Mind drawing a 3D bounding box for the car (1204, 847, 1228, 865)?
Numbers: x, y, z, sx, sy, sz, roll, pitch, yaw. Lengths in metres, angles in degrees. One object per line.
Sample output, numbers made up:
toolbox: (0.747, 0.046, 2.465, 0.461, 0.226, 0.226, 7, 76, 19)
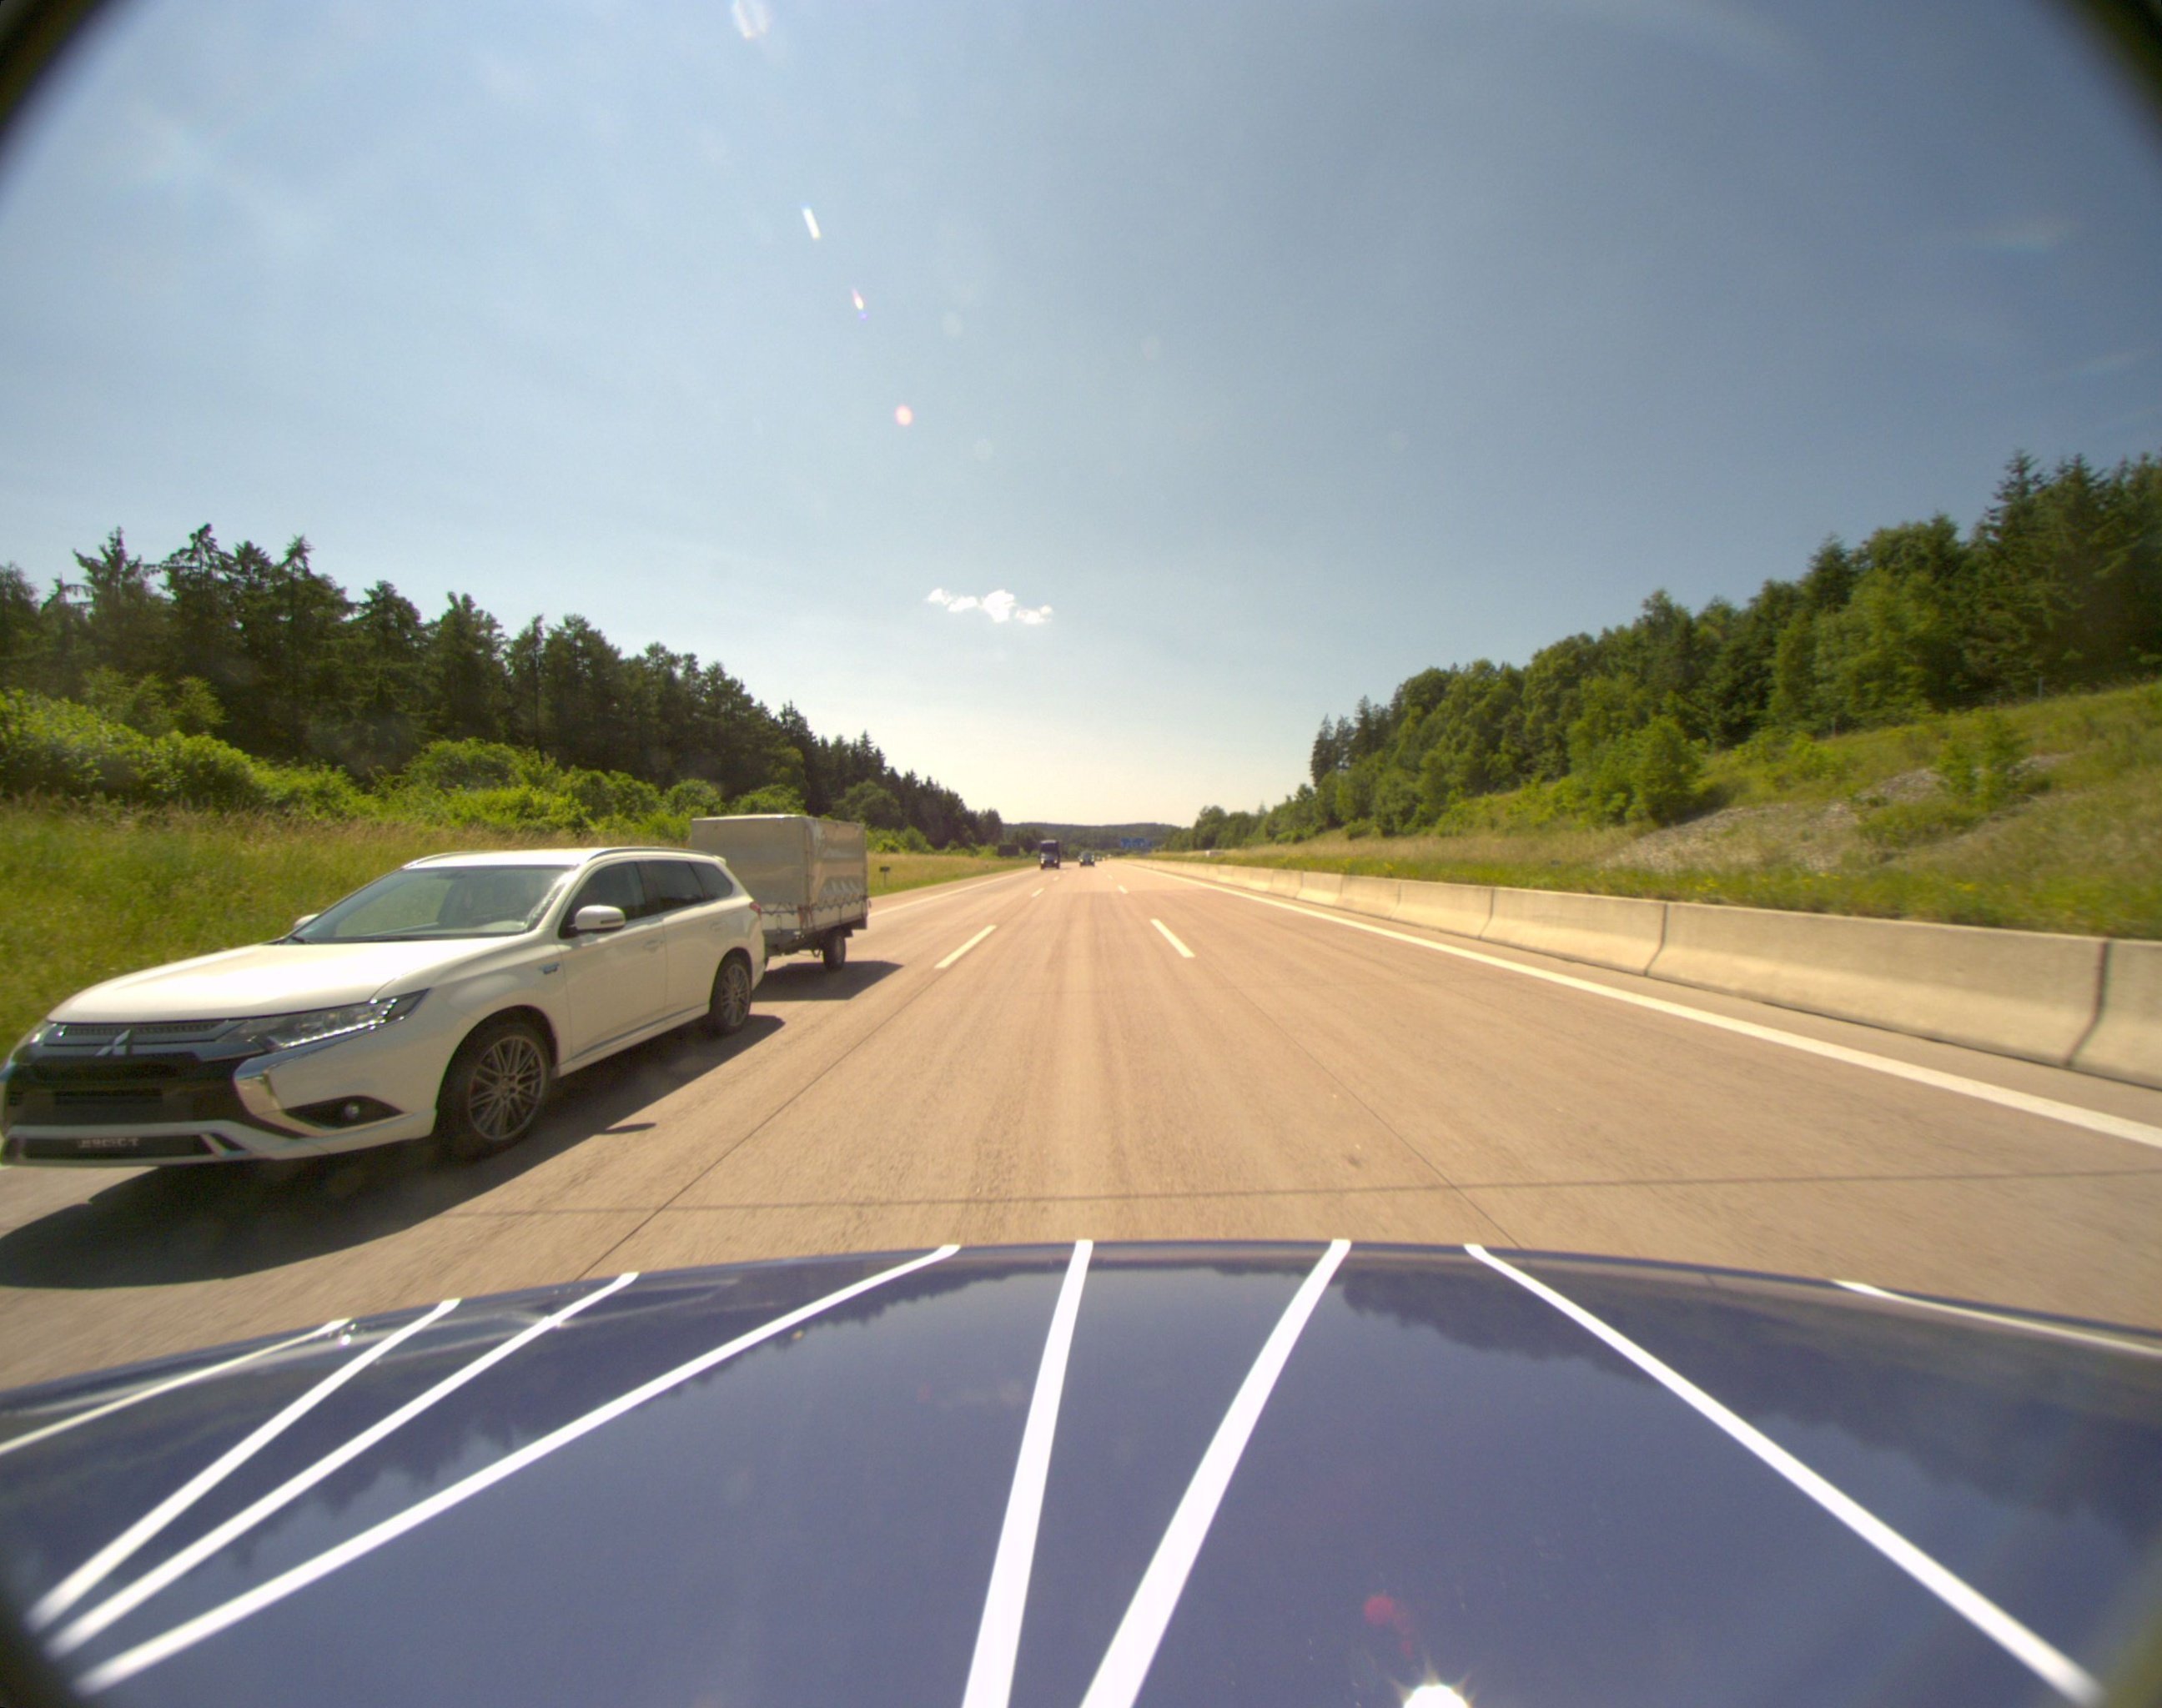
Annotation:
car: (16.272, 0.275, 92.018, 1.896, 2.052, 4.663, -2, 0, -1)

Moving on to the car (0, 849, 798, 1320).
car: (-4.027, 0.862, 5.422, 1.895, 1.718, 5.186, -2, 1, 1)

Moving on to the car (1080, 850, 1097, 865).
car: (0.995, 0.452, 98.030, 1.998, 1.805, 4.565, -2, 0, 3)

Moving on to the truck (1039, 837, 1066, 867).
truck: (-3.200, -0.192, 87.595, 2.508, 3.199, 7.785, -2, 0, 2)

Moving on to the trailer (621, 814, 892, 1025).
trailer: (-3.883, 0.677, 9.938, 1.661, 2.151, 4.016, -2, 0, 1)
